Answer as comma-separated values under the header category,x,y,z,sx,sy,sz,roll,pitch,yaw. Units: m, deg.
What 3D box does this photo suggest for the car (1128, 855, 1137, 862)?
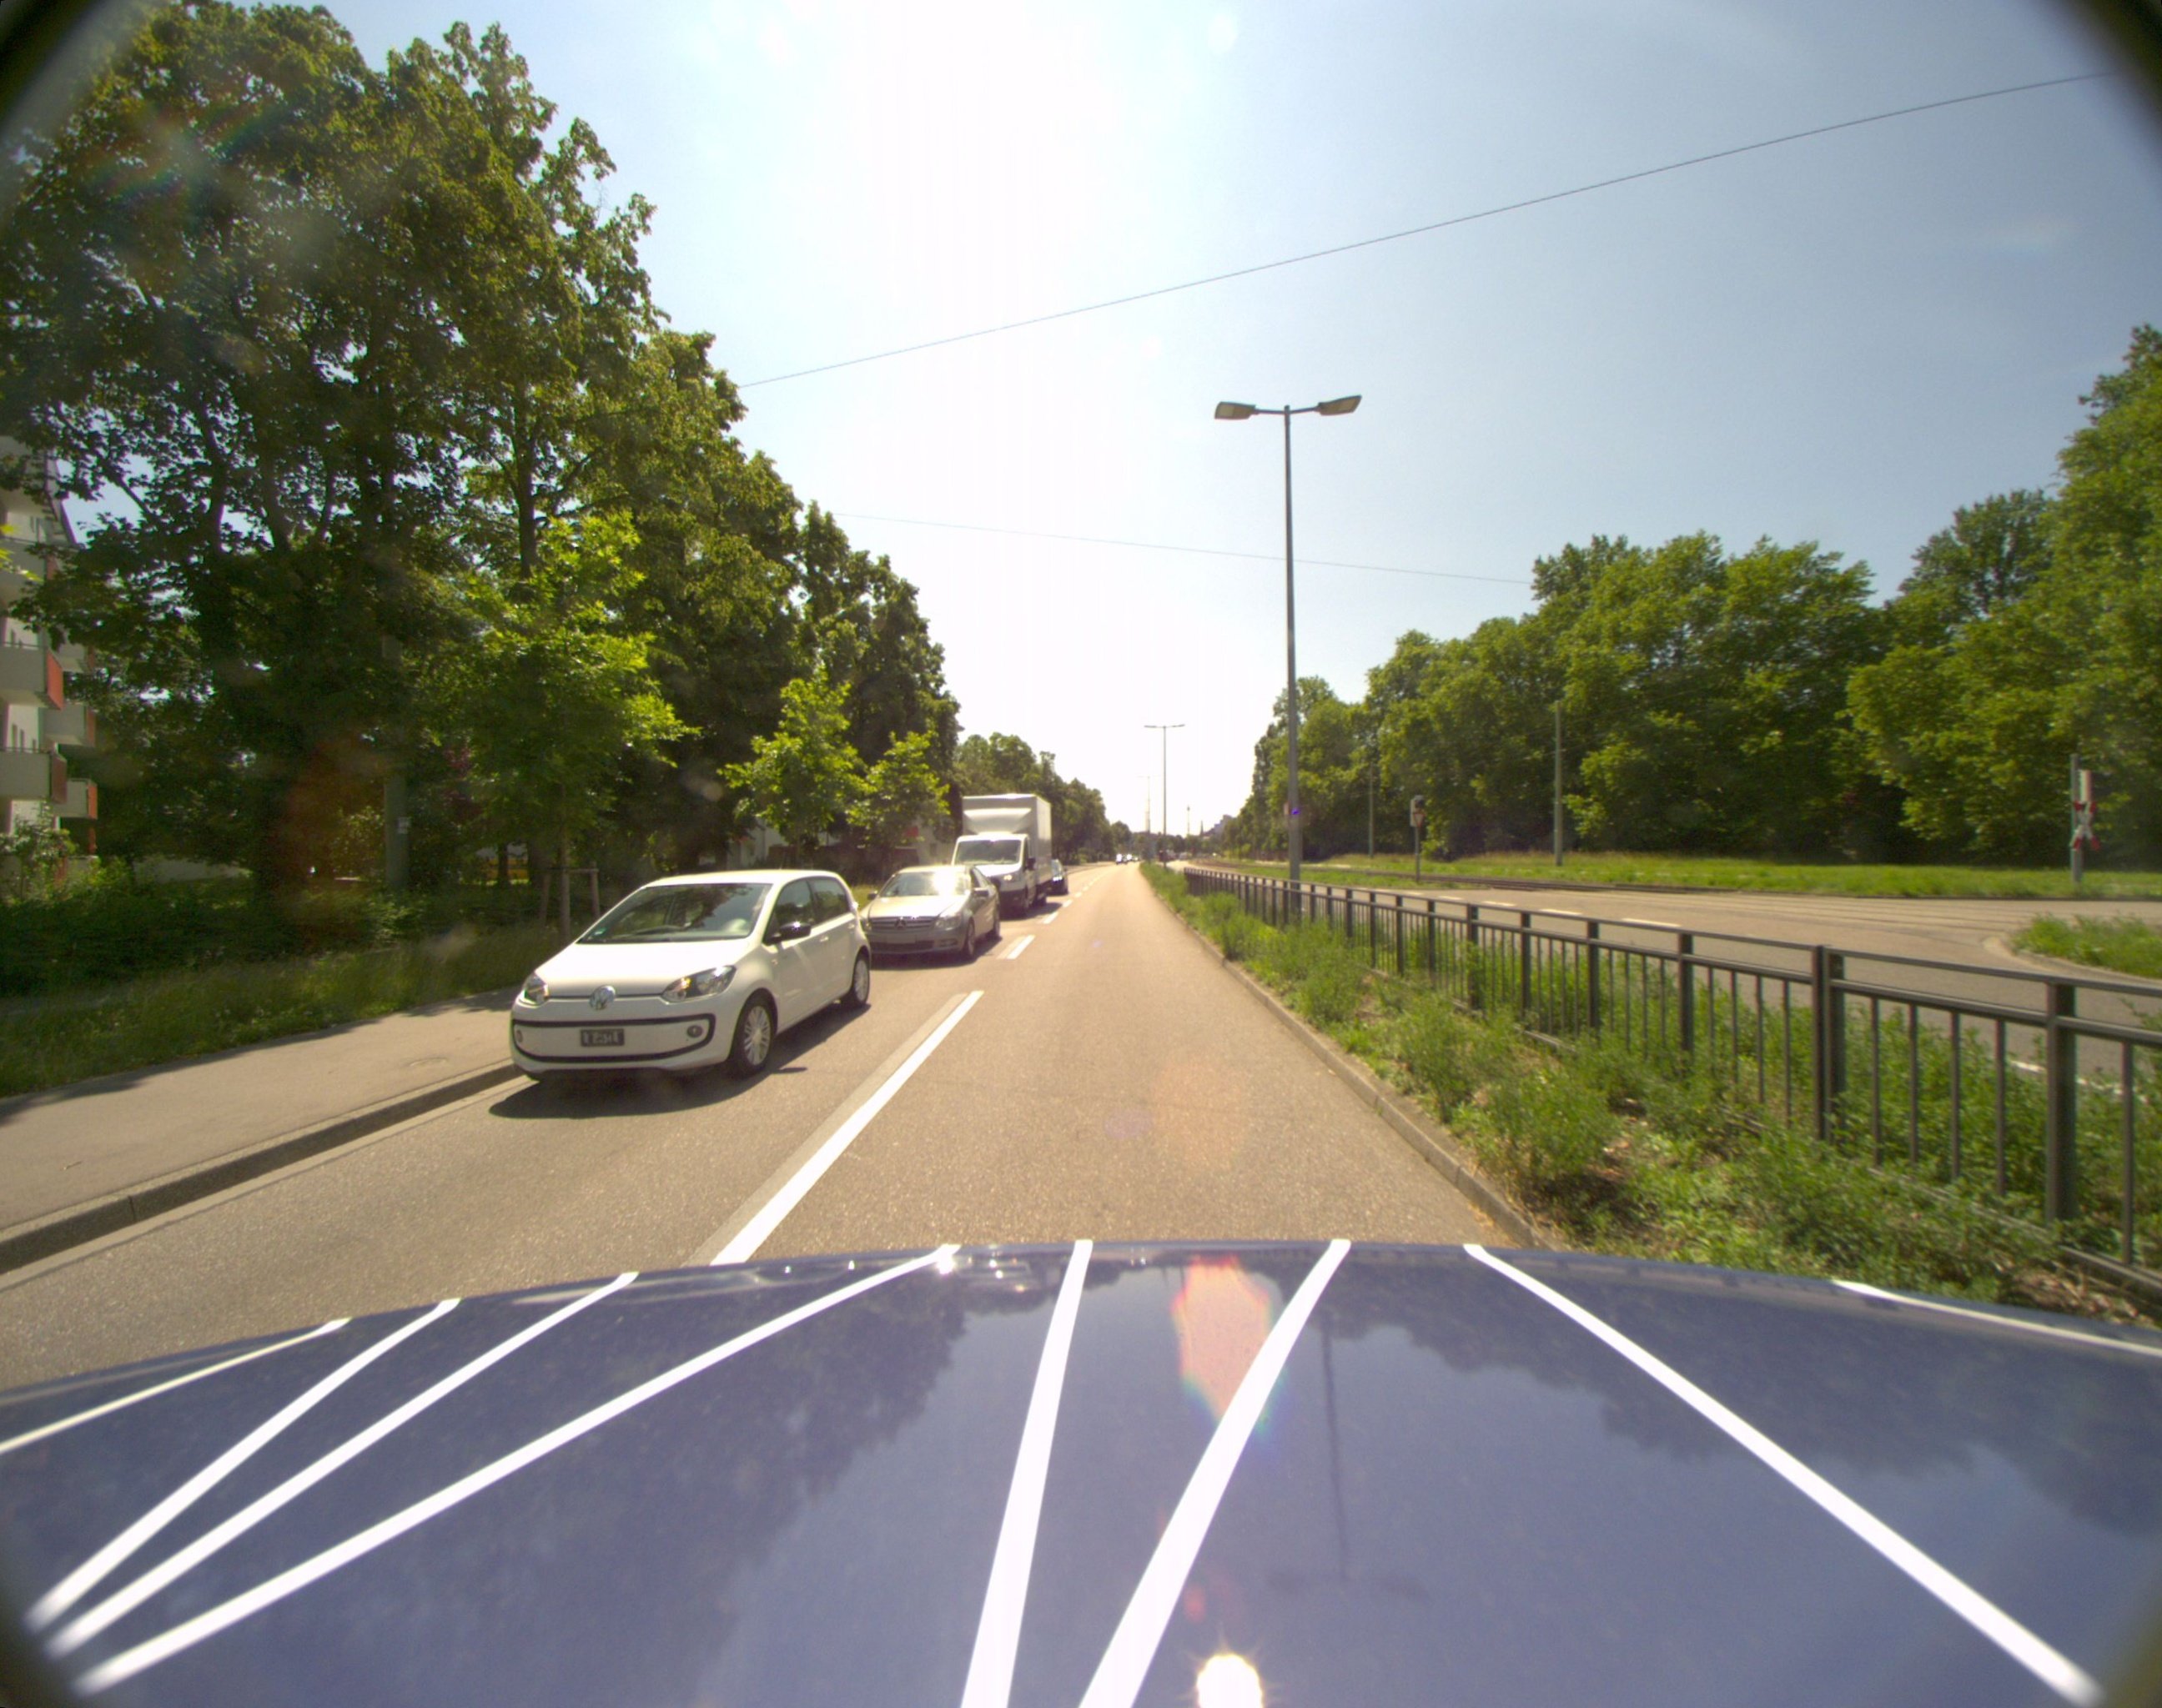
category,x,y,z,sx,sy,sz,roll,pitch,yaw
car,11.643,0.992,171.341,1.997,1.499,4.002,-1,0,7

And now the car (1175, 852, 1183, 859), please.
category,x,y,z,sx,sy,sz,roll,pitch,yaw
car,26.627,0.315,207.327,1.998,1.847,4.001,-1,0,5

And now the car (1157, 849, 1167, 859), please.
category,x,y,z,sx,sy,sz,roll,pitch,yaw
car,16.458,-0.001,153.849,1.997,1.847,4.002,-1,0,7

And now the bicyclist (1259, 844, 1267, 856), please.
category,x,y,z,sx,sy,sz,roll,pitch,yaw
bicyclist,27.398,-0.553,114.546,0.862,1.796,1.118,-1,1,1

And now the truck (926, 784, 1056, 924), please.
category,x,y,z,sx,sy,sz,roll,pitch,yaw
truck,-2.293,-0.007,22.277,2.433,3.326,7.923,-1,0,3

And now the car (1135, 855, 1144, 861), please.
category,x,y,z,sx,sy,sz,roll,pitch,yaw
car,15.322,0.941,198.417,1.997,1.499,4.002,-1,0,7

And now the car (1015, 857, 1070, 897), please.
category,x,y,z,sx,sy,sz,roll,pitch,yaw
car,-1.510,0.915,31.526,1.998,1.499,4.000,-1,0,1

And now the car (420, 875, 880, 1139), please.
category,x,y,z,sx,sy,sz,roll,pitch,yaw
car,-3.122,0.989,6.517,1.730,1.470,3.771,-1,0,1

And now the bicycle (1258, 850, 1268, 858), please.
category,x,y,z,sx,sy,sz,roll,pitch,yaw
bicycle,27.384,0.054,114.610,0.862,1.155,2.787,-1,0,1

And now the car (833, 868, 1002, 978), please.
category,x,y,z,sx,sy,sz,roll,pitch,yaw
car,-2.469,0.986,12.538,1.840,1.400,4.087,-1,0,1

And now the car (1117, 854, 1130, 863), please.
category,x,y,z,sx,sy,sz,roll,pitch,yaw
car,7.460,0.751,132.438,1.997,1.499,4.002,-1,0,7

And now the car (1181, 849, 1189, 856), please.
category,x,y,z,sx,sy,sz,roll,pitch,yaw
car,27.408,-0.344,200.861,1.998,1.847,4.001,-1,0,5
